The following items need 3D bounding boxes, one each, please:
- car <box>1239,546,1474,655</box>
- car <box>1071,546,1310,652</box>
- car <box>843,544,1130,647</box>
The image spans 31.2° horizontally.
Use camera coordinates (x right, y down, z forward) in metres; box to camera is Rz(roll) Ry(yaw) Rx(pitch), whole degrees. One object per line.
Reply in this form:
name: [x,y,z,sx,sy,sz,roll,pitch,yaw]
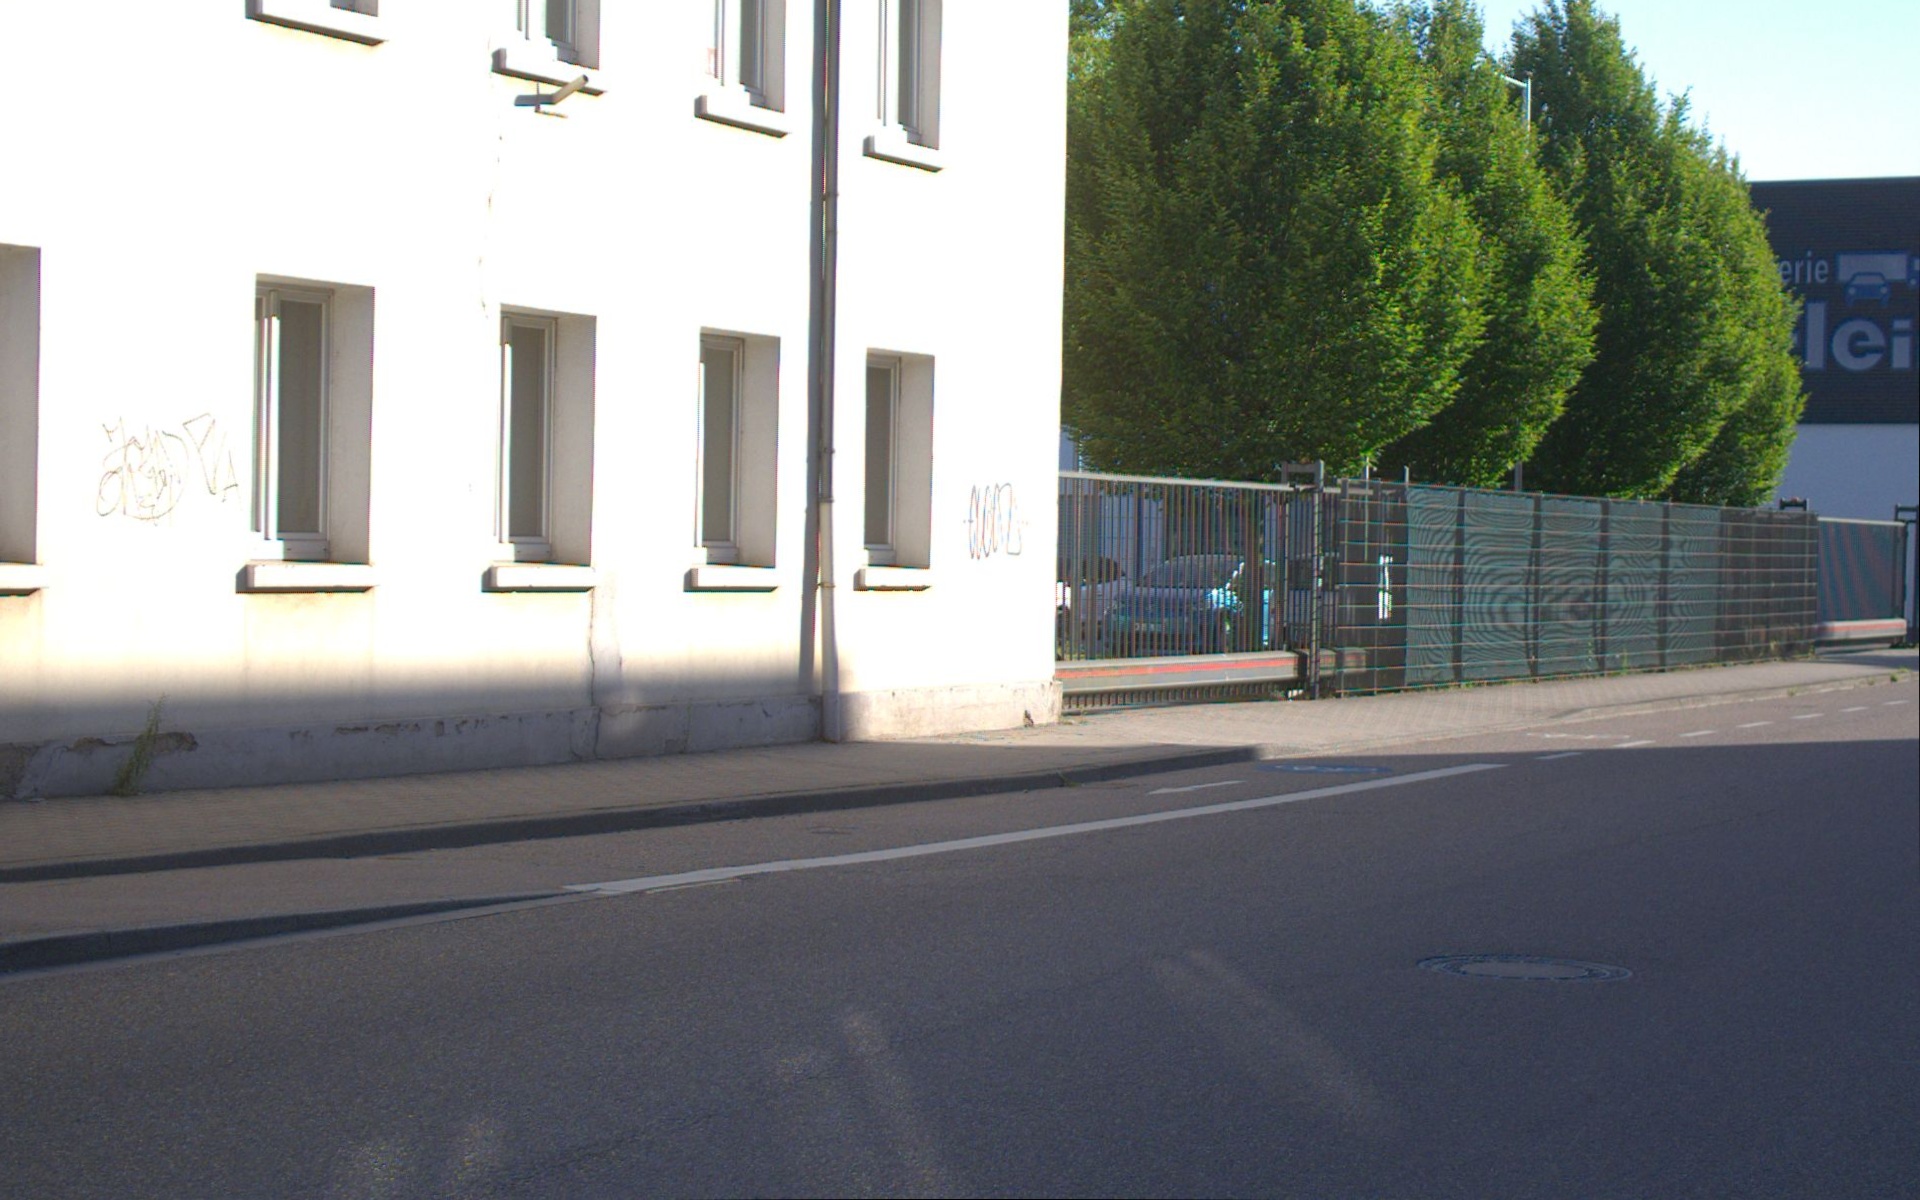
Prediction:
car: [5.736,-0.007,49.356,1.997,1.446,3.994,2,1,28]
car: [3.427,-0.027,50.508,1.997,1.446,3.994,2,1,28]
car: [0.399,-0.086,52.700,3.993,1.535,1.872,0,1,29]
